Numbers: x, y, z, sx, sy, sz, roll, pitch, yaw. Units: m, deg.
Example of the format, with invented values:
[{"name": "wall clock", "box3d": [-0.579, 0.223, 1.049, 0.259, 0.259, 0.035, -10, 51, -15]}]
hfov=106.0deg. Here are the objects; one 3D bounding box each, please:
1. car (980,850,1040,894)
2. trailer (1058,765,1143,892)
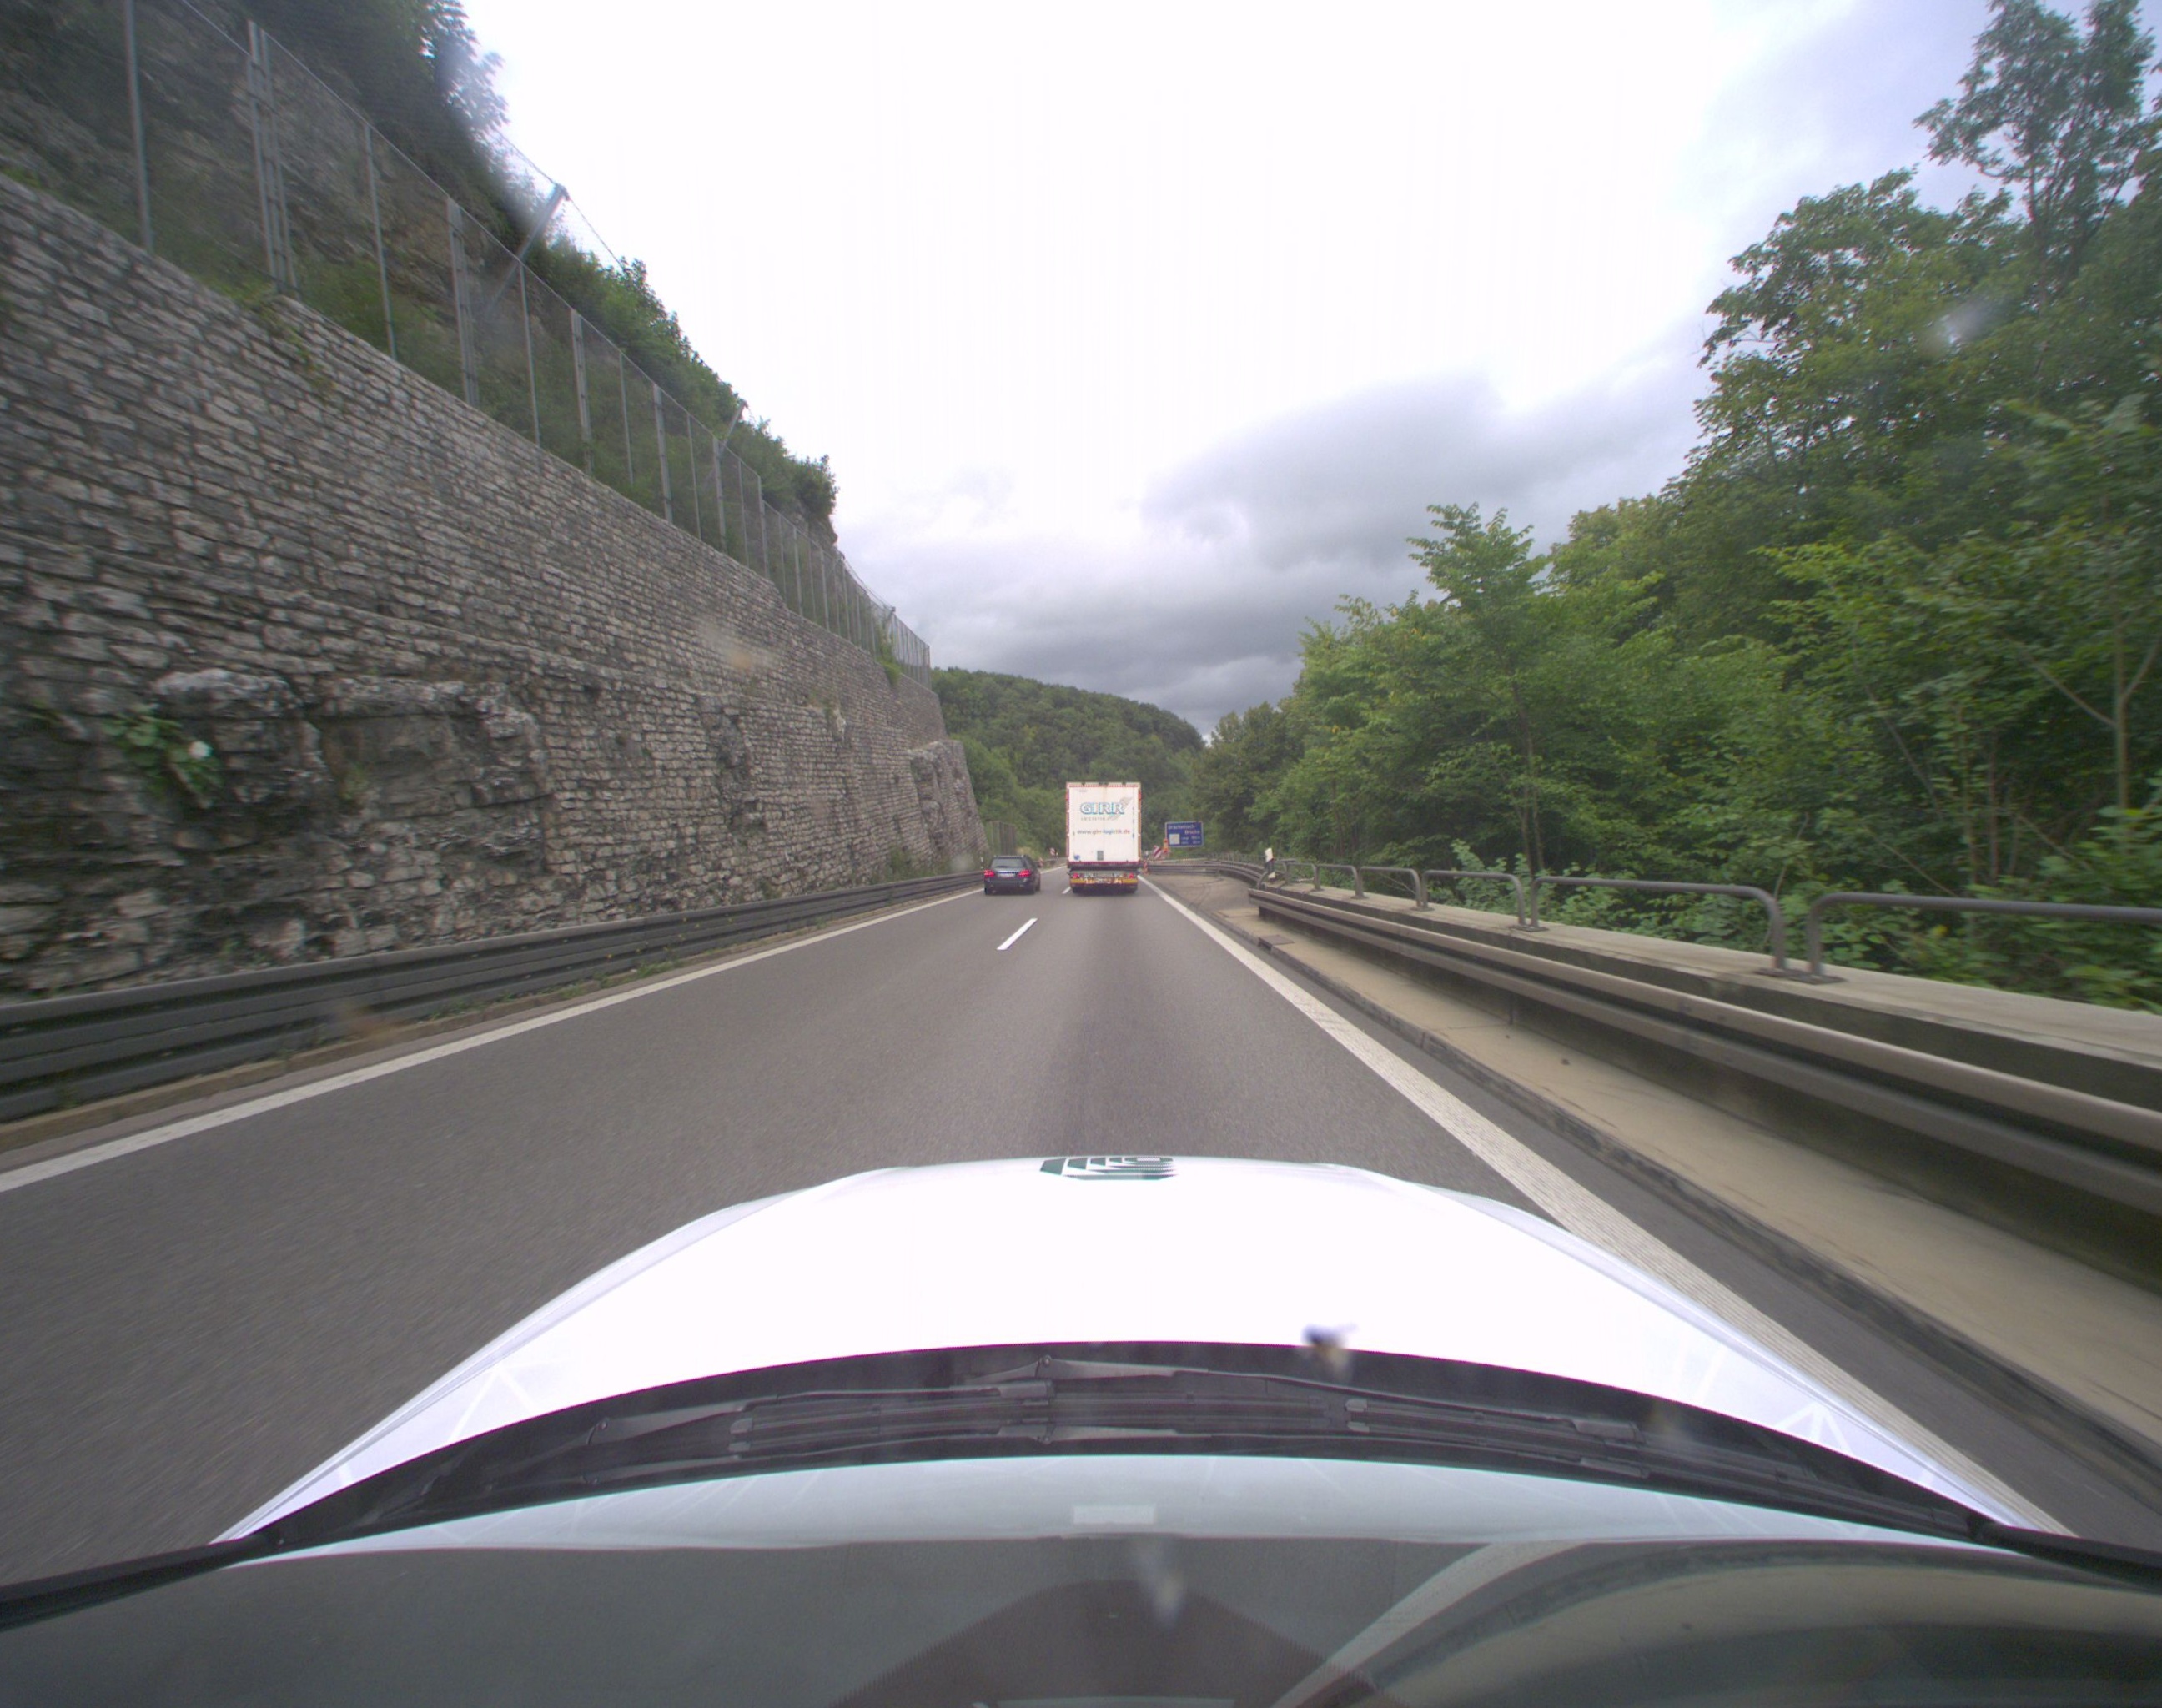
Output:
[{"name": "car", "box3d": [-2.632, 0.661, 31.251, 1.877, 1.510, 4.418, -1, 0, 0]}, {"name": "trailer", "box3d": [0.762, -0.822, 33.916, 2.803, 4.302, 12.245, -1, 0, 1]}]
